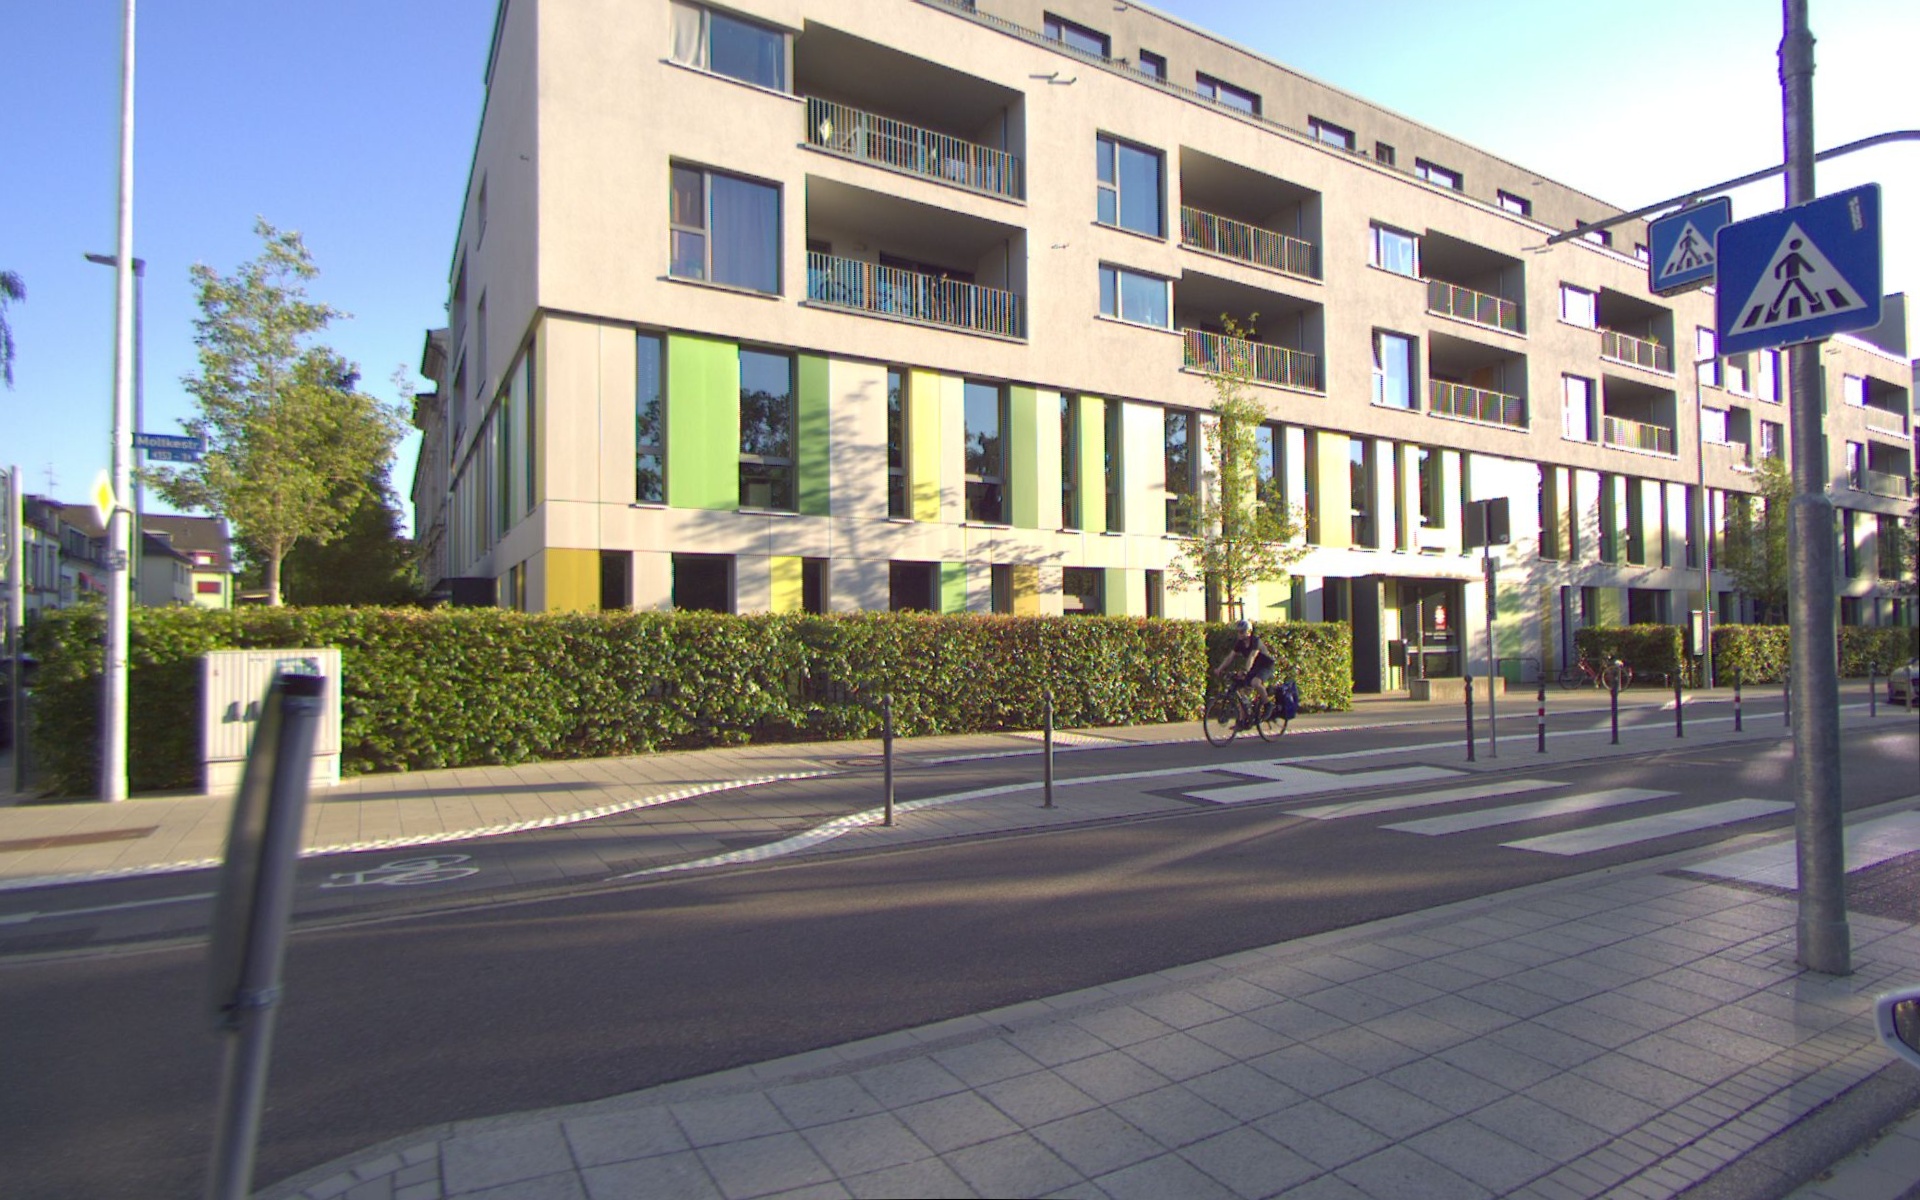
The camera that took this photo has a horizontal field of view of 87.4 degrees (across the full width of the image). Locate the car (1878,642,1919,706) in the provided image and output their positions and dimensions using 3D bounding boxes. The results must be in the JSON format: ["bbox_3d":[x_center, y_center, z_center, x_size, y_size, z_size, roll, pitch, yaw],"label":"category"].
[{"bbox_3d":[22.812,1.636,22.793,4.346,1.374,1.734,1,-3,-31],"label":"car"}]

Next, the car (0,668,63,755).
[{"bbox_3d":[-17.657,1.933,17.737,1.733,1.394,3.890,6,-5,-28],"label":"car"}]

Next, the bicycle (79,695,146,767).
[{"bbox_3d":[-12.280,1.870,14.585,0.506,0.904,1.589,0,-3,-32],"label":"bicycle"}]

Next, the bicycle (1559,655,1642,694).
[{"bbox_3d":[16.643,1.922,26.133,0.611,0.930,1.742,1,-1,-32],"label":"bicycle"}]

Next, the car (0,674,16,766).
[{"bbox_3d":[-15.113,1.749,13.996,1.797,1.456,3.890,6,-5,-28],"label":"car"}]

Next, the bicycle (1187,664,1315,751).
[{"bbox_3d":[4.084,1.469,14.060,1.862,1.092,0.630,1,-3,-32],"label":"bicycle"}]

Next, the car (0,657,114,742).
[{"bbox_3d":[-19.874,2.085,21.568,1.733,1.576,3.890,6,-5,-28],"label":"car"}]

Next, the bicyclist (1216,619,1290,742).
[{"bbox_3d":[4.112,1.114,14.090,0.749,1.666,0.623,0,-3,-31],"label":"bicyclist"}]
